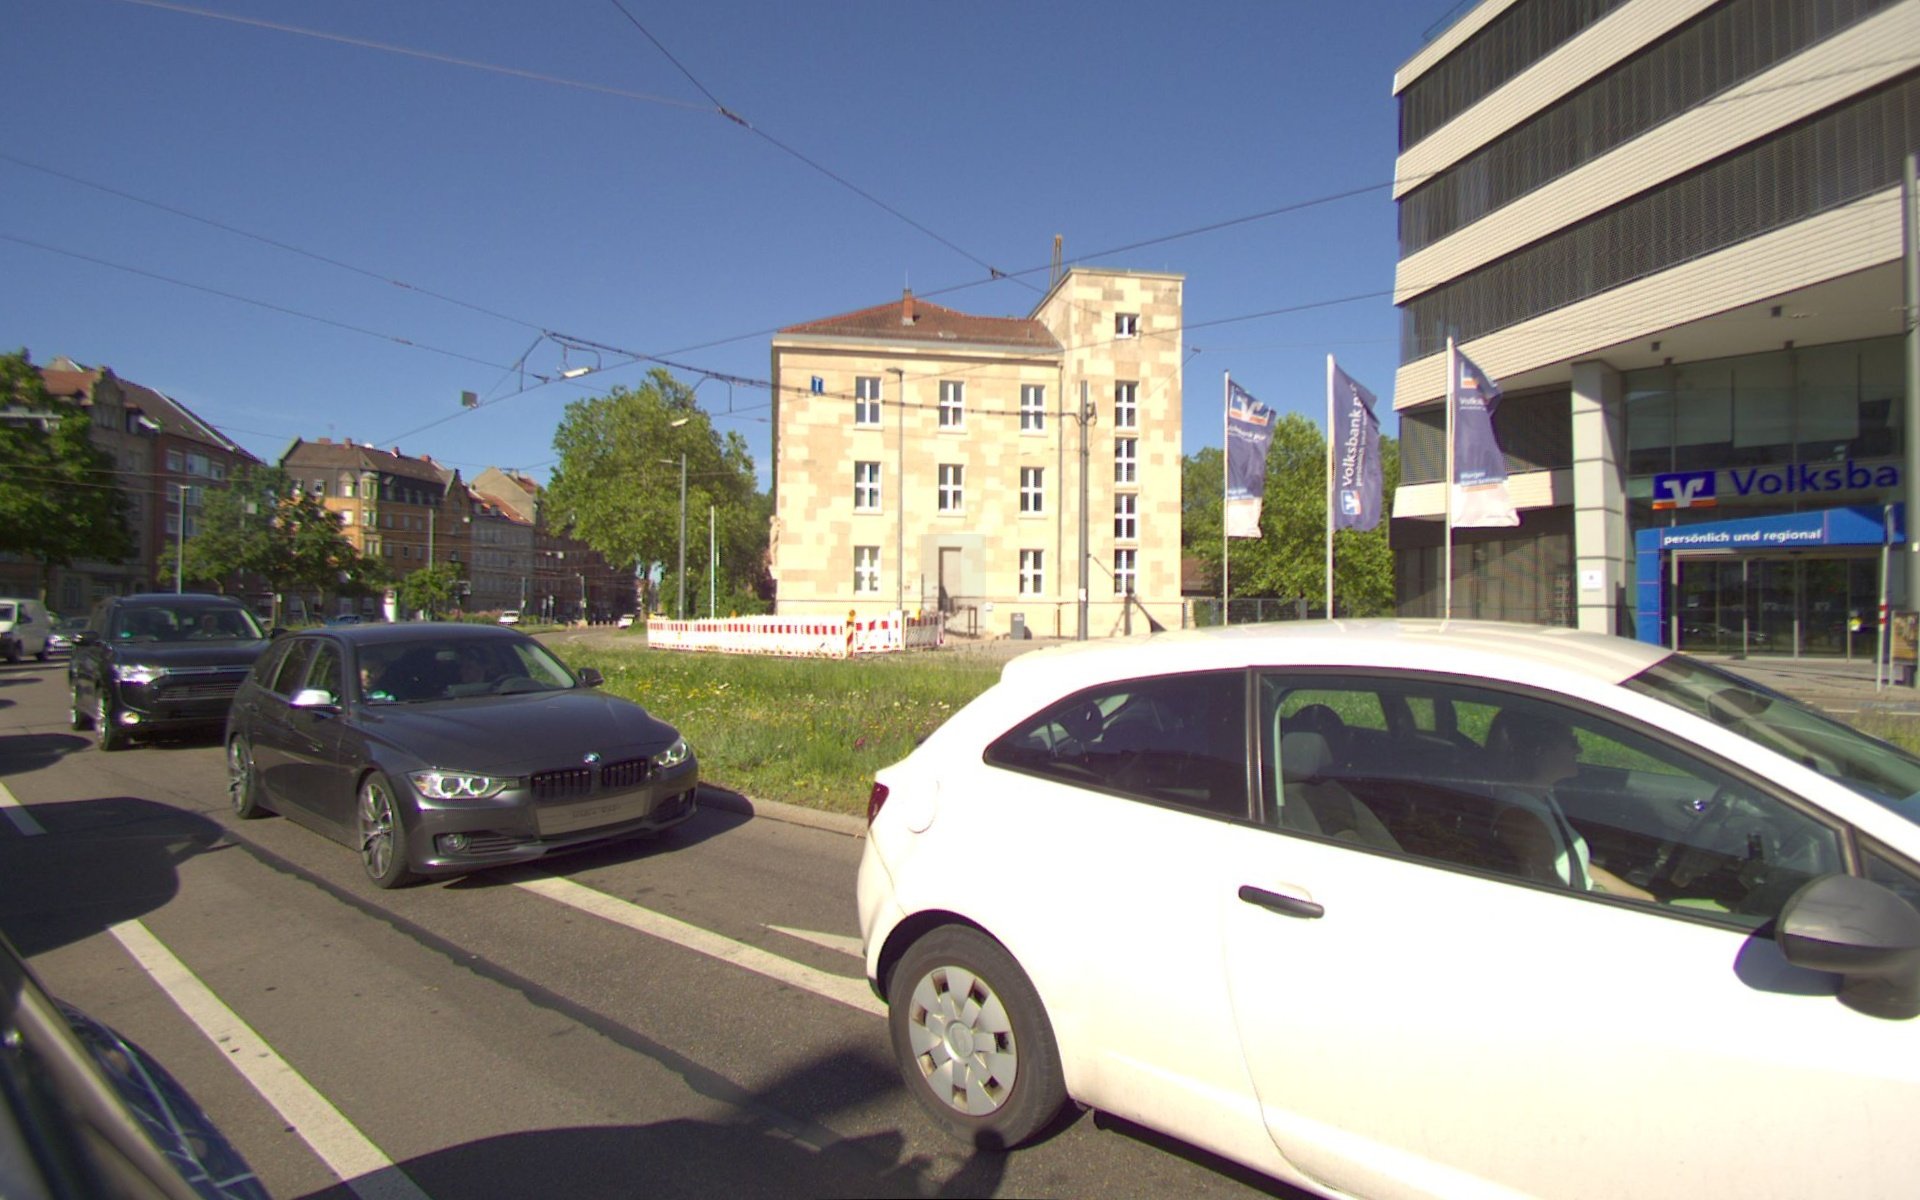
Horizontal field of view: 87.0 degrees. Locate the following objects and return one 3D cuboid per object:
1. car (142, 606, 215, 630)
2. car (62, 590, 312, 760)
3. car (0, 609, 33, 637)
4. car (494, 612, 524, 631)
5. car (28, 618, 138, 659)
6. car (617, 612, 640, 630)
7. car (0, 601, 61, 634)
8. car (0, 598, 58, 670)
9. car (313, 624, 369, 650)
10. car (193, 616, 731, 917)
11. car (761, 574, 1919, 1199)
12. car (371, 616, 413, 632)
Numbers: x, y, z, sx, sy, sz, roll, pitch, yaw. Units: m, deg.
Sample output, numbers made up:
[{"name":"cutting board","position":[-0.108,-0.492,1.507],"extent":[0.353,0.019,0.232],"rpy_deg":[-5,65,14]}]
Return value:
[{"name":"car","position":[-53.934,1.266,69.876],"extent":[3.771,1.603,1.601],"rpy_deg":[2,-2,-44]},{"name":"car","position":[-9.383,0.770,12.133],"extent":[1.817,1.658,4.400],"rpy_deg":[-1,-1,-45]},{"name":"car","position":[-48.768,1.145,50.388],"extent":[3.768,1.390,1.602],"rpy_deg":[2,-2,-41]},{"name":"car","position":[-46.862,2.186,105.179],"extent":[1.967,1.889,4.602],"rpy_deg":[-1,0,-13]},{"name":"car","position":[-33.686,1.439,39.040],"extent":[1.809,1.483,4.729],"rpy_deg":[1,-1,-23]},{"name":"car","position":[-32.499,2.053,99.352],"extent":[1.795,1.658,4.192],"rpy_deg":[0,-1,-13]},{"name":"car","position":[-49.933,0.884,52.794],"extent":[4.514,1.680,1.601],"rpy_deg":[2,-2,-43]},{"name":"car","position":[-29.616,0.997,31.040],"extent":[1.949,2.101,4.727],"rpy_deg":[2,-1,-30]},{"name":"car","position":[-41.181,2.451,67.429],"extent":[1.811,1.659,4.157],"rpy_deg":[1,-1,-10]},{"name":"car","position":[-3.601,0.825,6.883],"extent":[4.424,1.377,1.719],"rpy_deg":[-1,0,41]},{"name":"car","position":[1.479,0.693,2.483],"extent":[4.020,1.452,1.714],"rpy_deg":[0,2,40]},{"name":"car","position":[-64.768,2.742,115.439],"extent":[3.931,1.663,1.868],"rpy_deg":[-1,0,-18]}]
